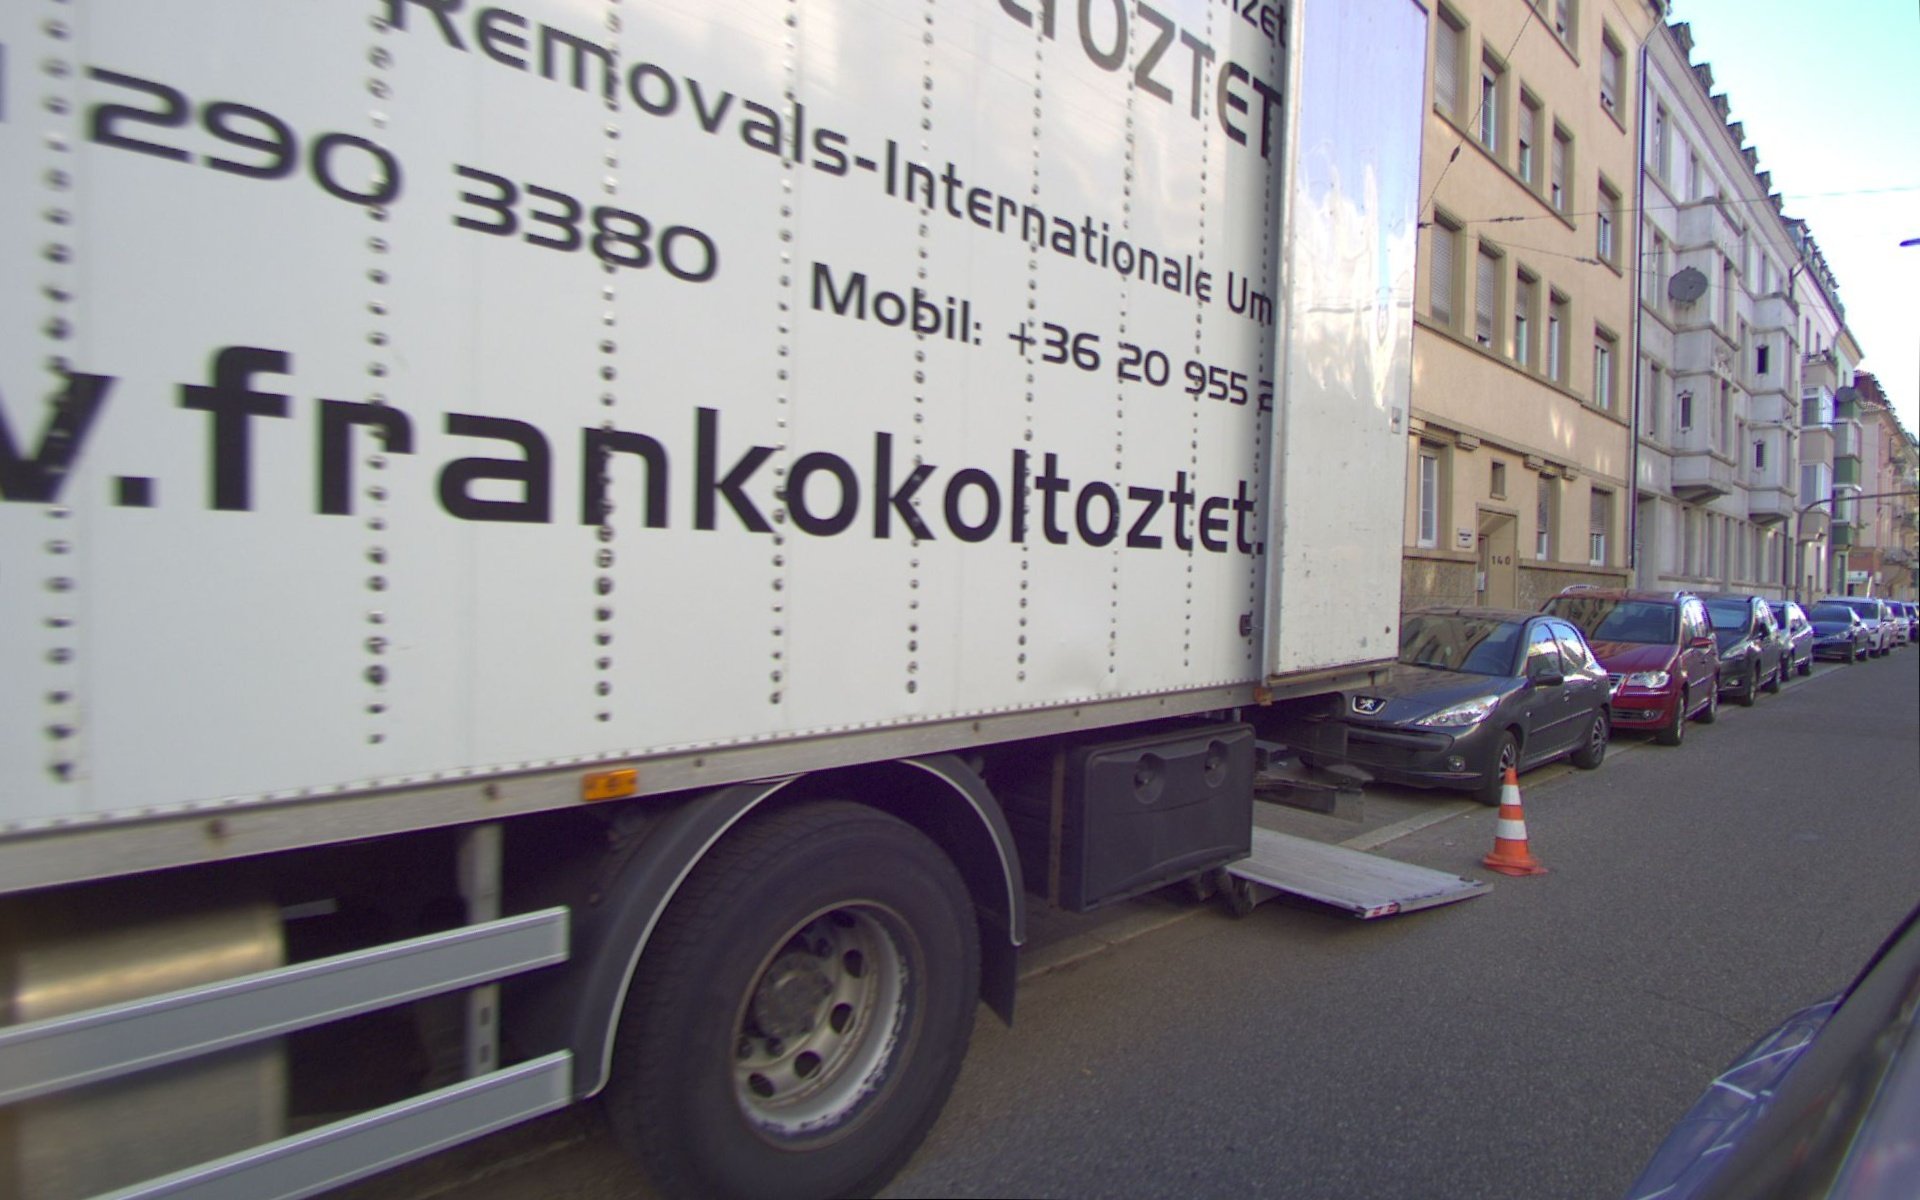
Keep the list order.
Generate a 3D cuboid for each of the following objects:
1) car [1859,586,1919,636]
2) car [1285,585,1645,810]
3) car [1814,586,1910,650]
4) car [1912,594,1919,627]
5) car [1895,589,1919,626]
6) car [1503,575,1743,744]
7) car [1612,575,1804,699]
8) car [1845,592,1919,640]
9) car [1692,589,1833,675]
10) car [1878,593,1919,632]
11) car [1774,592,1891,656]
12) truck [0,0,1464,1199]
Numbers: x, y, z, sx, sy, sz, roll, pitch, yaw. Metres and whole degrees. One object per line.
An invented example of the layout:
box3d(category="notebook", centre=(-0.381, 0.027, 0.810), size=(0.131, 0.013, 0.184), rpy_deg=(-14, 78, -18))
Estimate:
box3d(category="car", centre=(35.637, 0.384, 38.380), size=(4.114, 1.719, 1.702), rpy_deg=(0, 2, -41))
box3d(category="car", centre=(4.510, 0.649, 8.773), size=(3.816, 1.481, 1.584), rpy_deg=(0, 2, -44))
box3d(category="car", centre=(26.806, 0.487, 30.021), size=(4.513, 1.714, 1.711), rpy_deg=(0, 2, -43))
box3d(category="car", centre=(48.229, 0.561, 49.767), size=(3.296, 1.609, 1.702), rpy_deg=(0, 4, -41))
box3d(category="car", centre=(43.432, 0.322, 45.571), size=(3.894, 1.610, 1.701), rpy_deg=(0, 1, -43))
box3d(category="car", centre=(8.001, 0.570, 12.048), size=(1.593, 1.629, 4.179), rpy_deg=(3, 2, 44))
box3d(category="car", centre=(12.064, 0.491, 16.209), size=(4.295, 1.672, 1.791), rpy_deg=(0, 2, -45))
box3d(category="car", centre=(32.431, 0.543, 35.504), size=(3.306, 1.502, 1.570), rpy_deg=(0, 4, -41))
box3d(category="car", centre=(15.818, 0.570, 19.907), size=(3.420, 1.481, 1.611), rpy_deg=(0, 2, -42))
box3d(category="car", centre=(39.678, 0.508, 42.217), size=(3.797, 1.524, 1.701), rpy_deg=(0, 1, -42))
box3d(category="car", centre=(22.517, 0.560, 26.058), size=(4.133, 1.470, 1.703), rpy_deg=(0, 2, -42))
box3d(category="truck", centre=(-3.150, -0.699, 1.475), size=(11.576, 4.124, 2.864), rpy_deg=(0, 1, -42))
